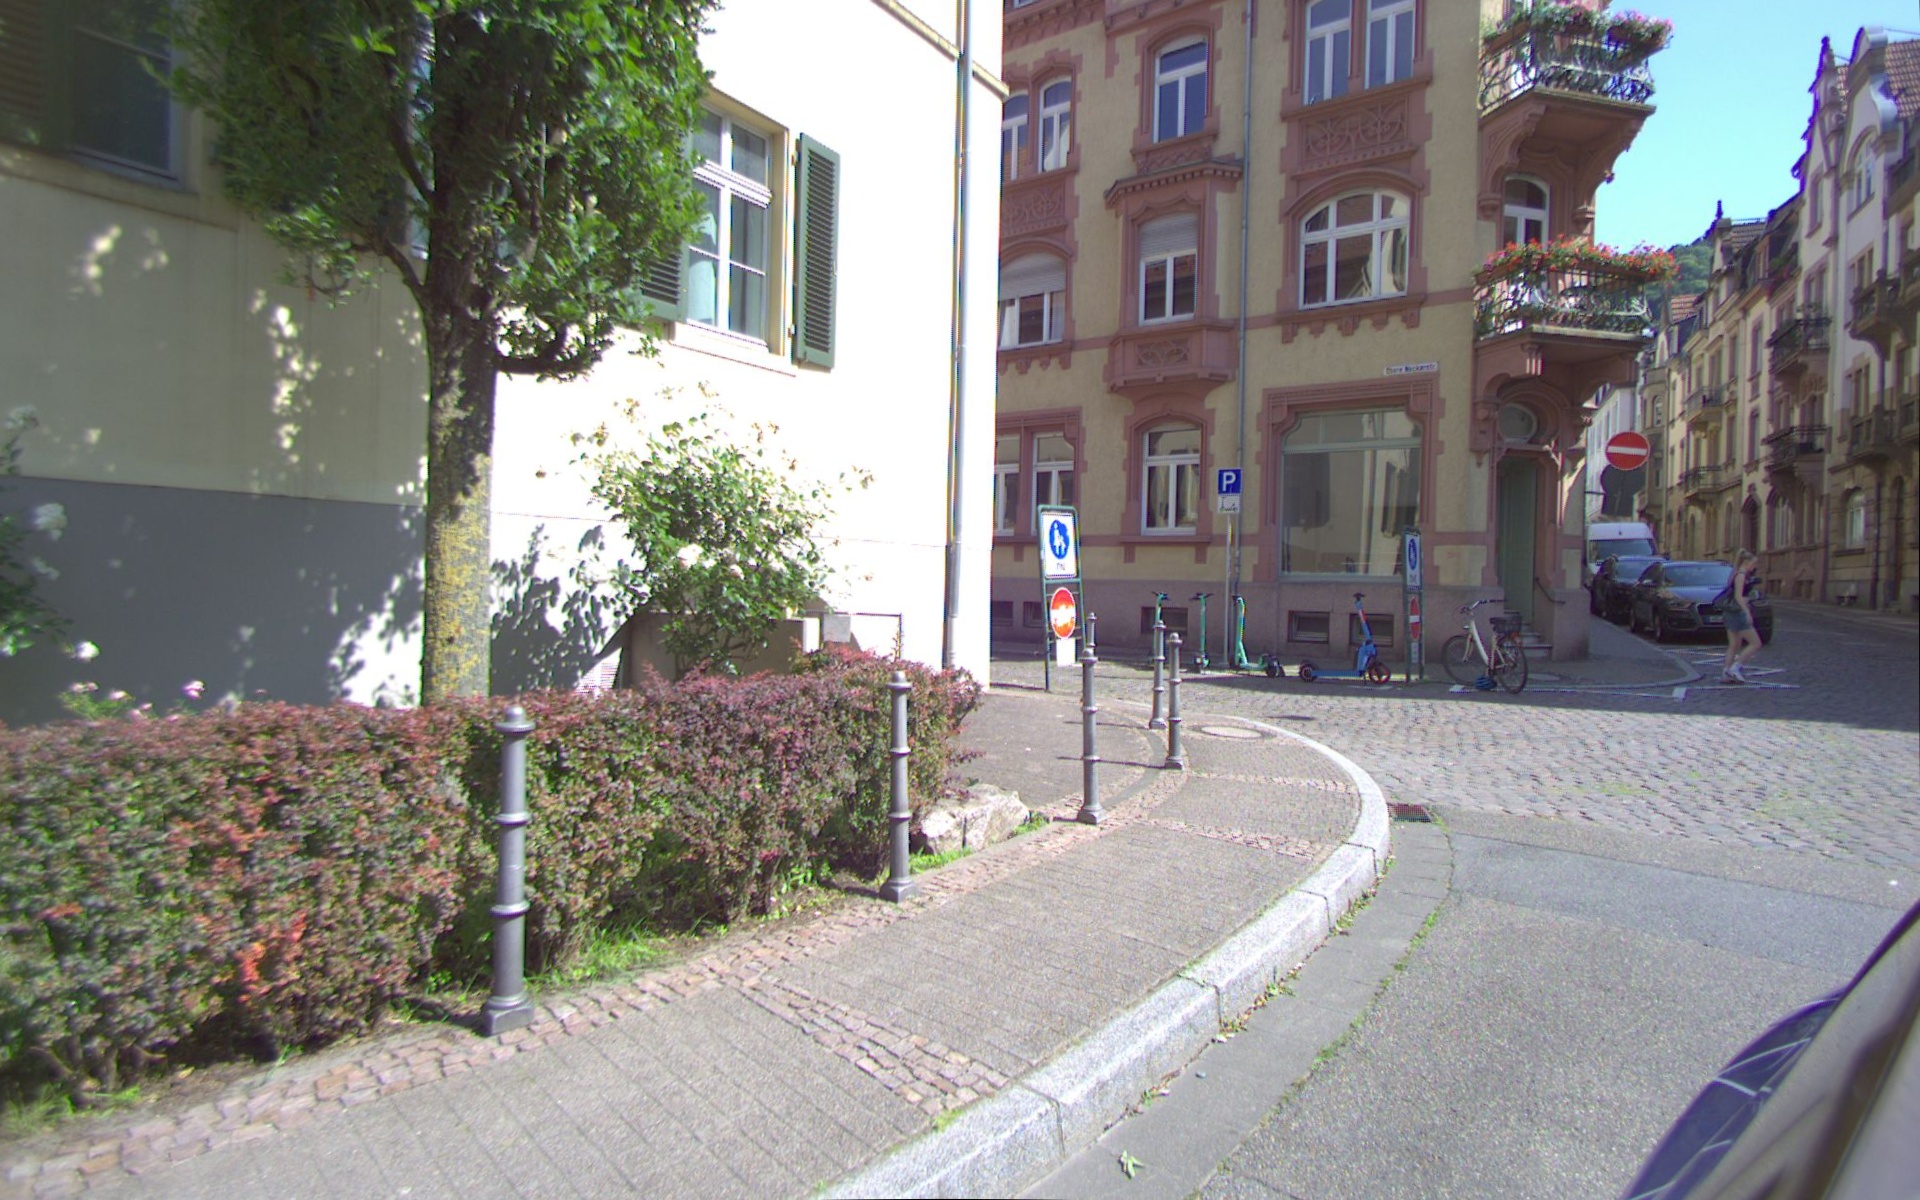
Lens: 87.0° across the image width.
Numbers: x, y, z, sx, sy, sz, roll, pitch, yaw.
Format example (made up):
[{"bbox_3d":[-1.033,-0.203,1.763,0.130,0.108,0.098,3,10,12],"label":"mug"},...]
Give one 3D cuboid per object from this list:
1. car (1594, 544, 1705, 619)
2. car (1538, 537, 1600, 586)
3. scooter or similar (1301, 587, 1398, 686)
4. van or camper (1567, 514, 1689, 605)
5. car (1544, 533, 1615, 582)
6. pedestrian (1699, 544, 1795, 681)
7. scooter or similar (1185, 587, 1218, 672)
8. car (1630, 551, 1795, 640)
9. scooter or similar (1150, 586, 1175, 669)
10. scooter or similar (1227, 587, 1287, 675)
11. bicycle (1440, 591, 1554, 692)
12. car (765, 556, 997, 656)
[{"bbox_3d":[17.215,-0.514,25.447,1.744,1.726,3.965,-1,2,27],"label":"car"},{"bbox_3d":[28.142,-1.769,46.895,1.979,2.172,3.967,1,1,25],"label":"car"},{"bbox_3d":[5.216,0.467,13.571,1.177,1.250,0.439,1,1,23],"label":"scooter or similar"},{"bbox_3d":[20.805,-1.348,31.838,2.204,2.550,6.712,2,4,25],"label":"van or camper"},{"bbox_3d":[25.639,-1.718,41.994,1.979,1.940,3.967,1,1,25],"label":"car"},{"bbox_3d":[10.695,0.140,13.794,0.975,1.779,0.616,1,4,36],"label":"pedestrian"},{"bbox_3d":[3.691,0.430,15.437,0.407,1.224,1.228,1,1,17],"label":"scooter or similar"},{"bbox_3d":[15.096,-0.166,20.552,1.843,1.602,4.225,0,2,25],"label":"car"},{"bbox_3d":[3.132,0.401,15.676,0.337,1.224,1.187,1,1,11],"label":"scooter or similar"},{"bbox_3d":[4.344,0.434,14.871,0.335,1.224,1.193,1,1,-10],"label":"scooter or similar"},{"bbox_3d":[6.974,0.500,13.236,0.496,1.160,1.794,1,2,0],"label":"bicycle"},{"bbox_3d":[-1.513,0.032,18.817,3.973,1.663,1.976,2,2,34],"label":"car"}]
